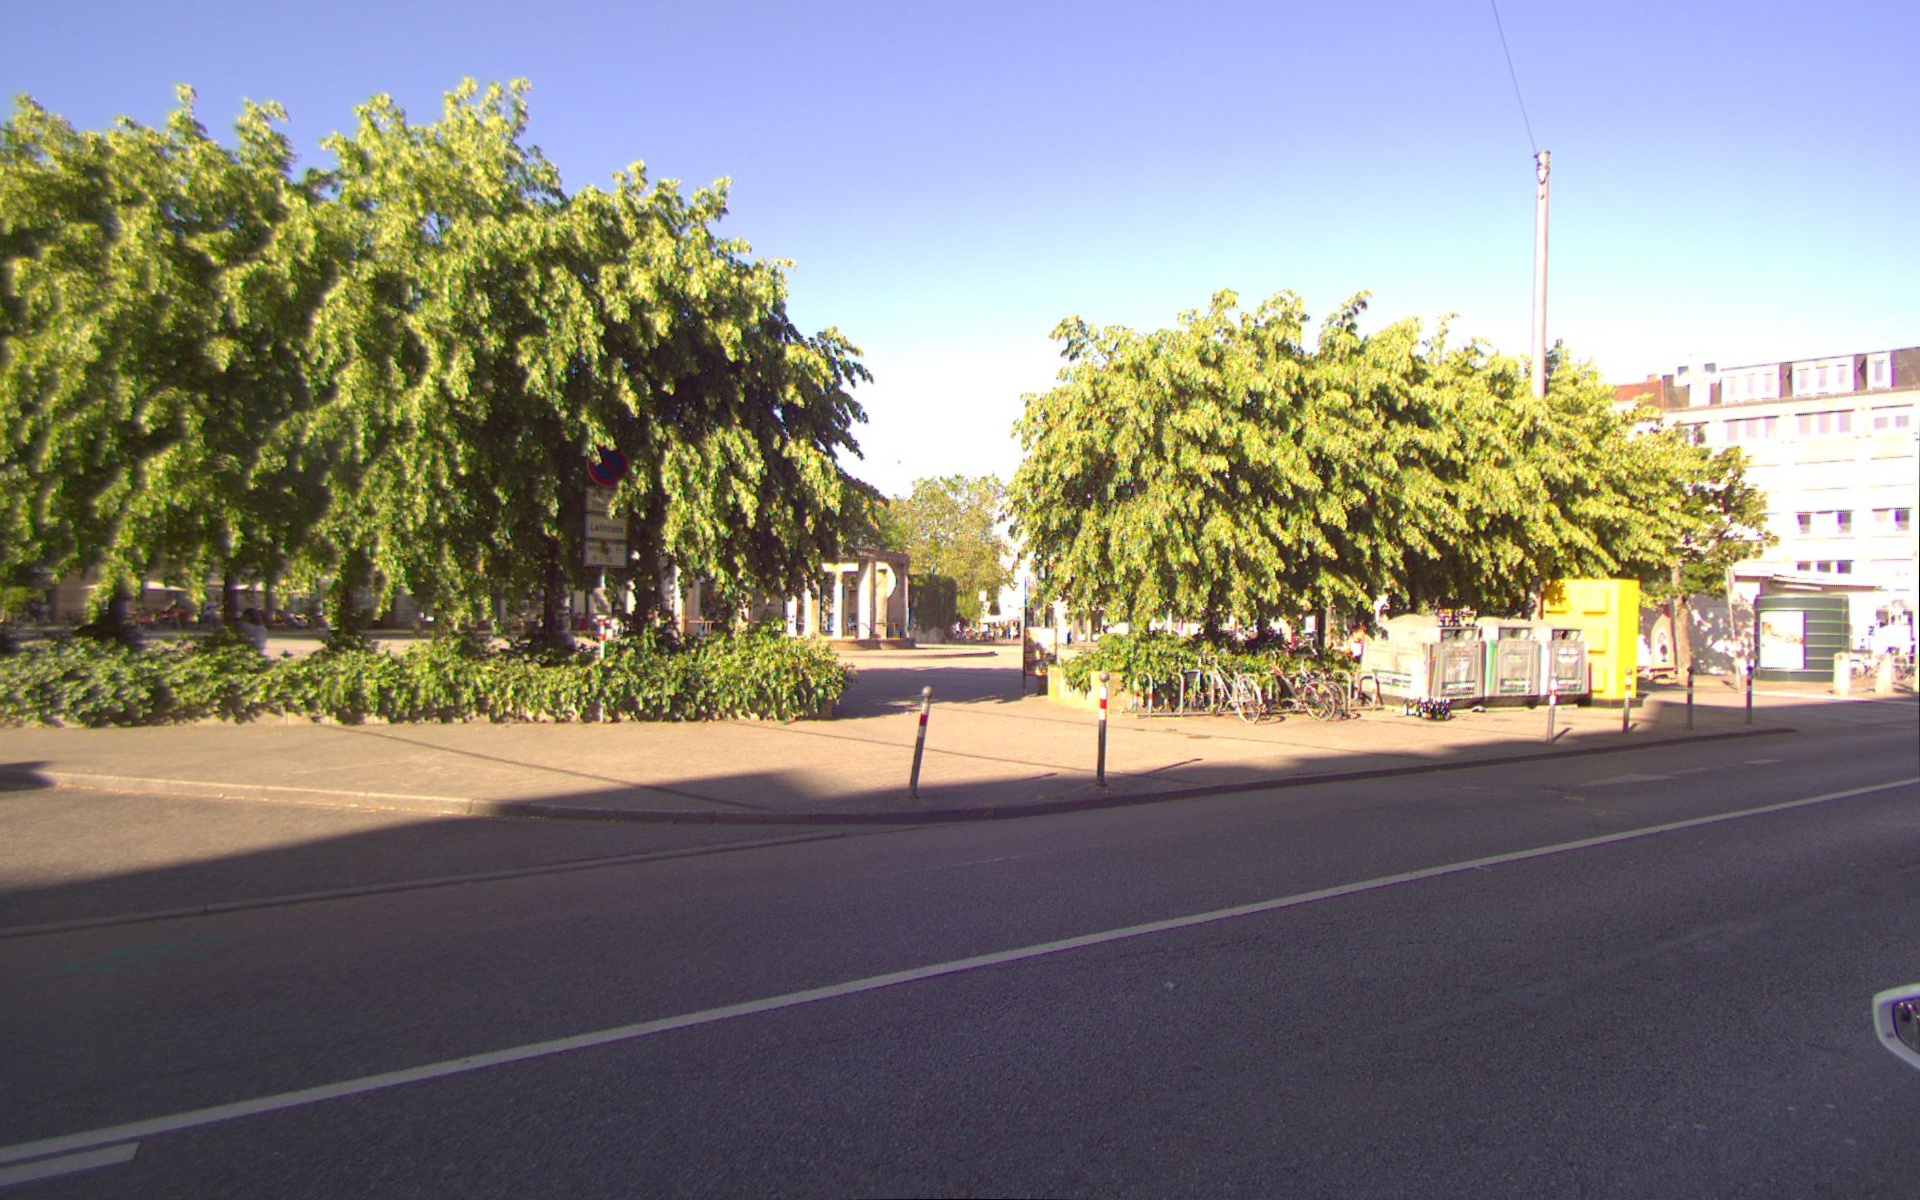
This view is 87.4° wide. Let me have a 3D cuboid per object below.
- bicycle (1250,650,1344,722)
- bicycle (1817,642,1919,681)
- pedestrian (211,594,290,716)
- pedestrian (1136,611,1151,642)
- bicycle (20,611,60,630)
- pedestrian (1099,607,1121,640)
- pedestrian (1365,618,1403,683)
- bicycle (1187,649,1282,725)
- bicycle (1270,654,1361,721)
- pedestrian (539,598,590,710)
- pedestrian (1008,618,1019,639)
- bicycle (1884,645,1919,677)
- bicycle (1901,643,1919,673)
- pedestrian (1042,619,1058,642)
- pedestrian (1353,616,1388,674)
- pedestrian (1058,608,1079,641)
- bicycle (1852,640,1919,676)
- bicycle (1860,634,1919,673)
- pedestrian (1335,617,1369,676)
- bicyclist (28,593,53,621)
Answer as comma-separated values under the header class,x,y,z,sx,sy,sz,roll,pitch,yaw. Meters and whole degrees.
class,x,y,z,sx,sy,sz,roll,pitch,yaw
bicycle,5.390,1.354,16.134,0.425,1.036,1.561,1,-1,-28
bicycle,30.792,2.055,34.072,0.833,1.171,2.493,1,-1,-31
pedestrian,-10.748,0.814,15.243,0.725,1.781,0.895,1,-1,-19
pedestrian,11.964,1.717,65.427,0.886,2.040,1.222,1,-1,10
bicycle,-48.122,1.089,52.553,0.578,0.966,1.903,1,-1,-10
pedestrian,9.372,1.480,62.878,0.889,2.040,1.399,1,-1,-12
pedestrian,13.809,1.624,32.726,0.886,2.040,0.993,1,0,7
bicycle,4.221,1.321,15.551,0.425,1.031,1.590,1,0,-28
bicycle,5.799,1.409,16.461,0.425,0.971,1.518,0,0,-28
pedestrian,-6.503,0.868,16.552,0.725,1.781,0.895,1,-1,-19
pedestrian,5.267,2.846,99.366,0.887,2.040,1.284,1,-1,-4
bicycle,36.759,2.325,38.033,0.834,1.171,2.517,1,-1,-34
bicycle,38.683,2.312,39.511,0.834,1.171,2.308,1,-1,-34
pedestrian,8.398,2.838,94.044,1.252,2.040,1.285,1,-1,-4
pedestrian,14.709,1.602,36.011,0.886,2.040,0.993,1,0,7
pedestrian,6.907,1.568,64.008,0.893,2.040,0.986,1,0,-27
bicycle,33.005,2.035,35.241,0.833,1.171,2.449,1,-1,-31
bicycle,34.486,1.941,36.526,0.913,1.341,2.461,1,-1,-35
pedestrian,13.972,1.644,35.825,0.886,2.040,0.993,1,0,7
bicyclist,-48.107,0.385,52.578,0.661,1.447,0.697,1,-1,-10
